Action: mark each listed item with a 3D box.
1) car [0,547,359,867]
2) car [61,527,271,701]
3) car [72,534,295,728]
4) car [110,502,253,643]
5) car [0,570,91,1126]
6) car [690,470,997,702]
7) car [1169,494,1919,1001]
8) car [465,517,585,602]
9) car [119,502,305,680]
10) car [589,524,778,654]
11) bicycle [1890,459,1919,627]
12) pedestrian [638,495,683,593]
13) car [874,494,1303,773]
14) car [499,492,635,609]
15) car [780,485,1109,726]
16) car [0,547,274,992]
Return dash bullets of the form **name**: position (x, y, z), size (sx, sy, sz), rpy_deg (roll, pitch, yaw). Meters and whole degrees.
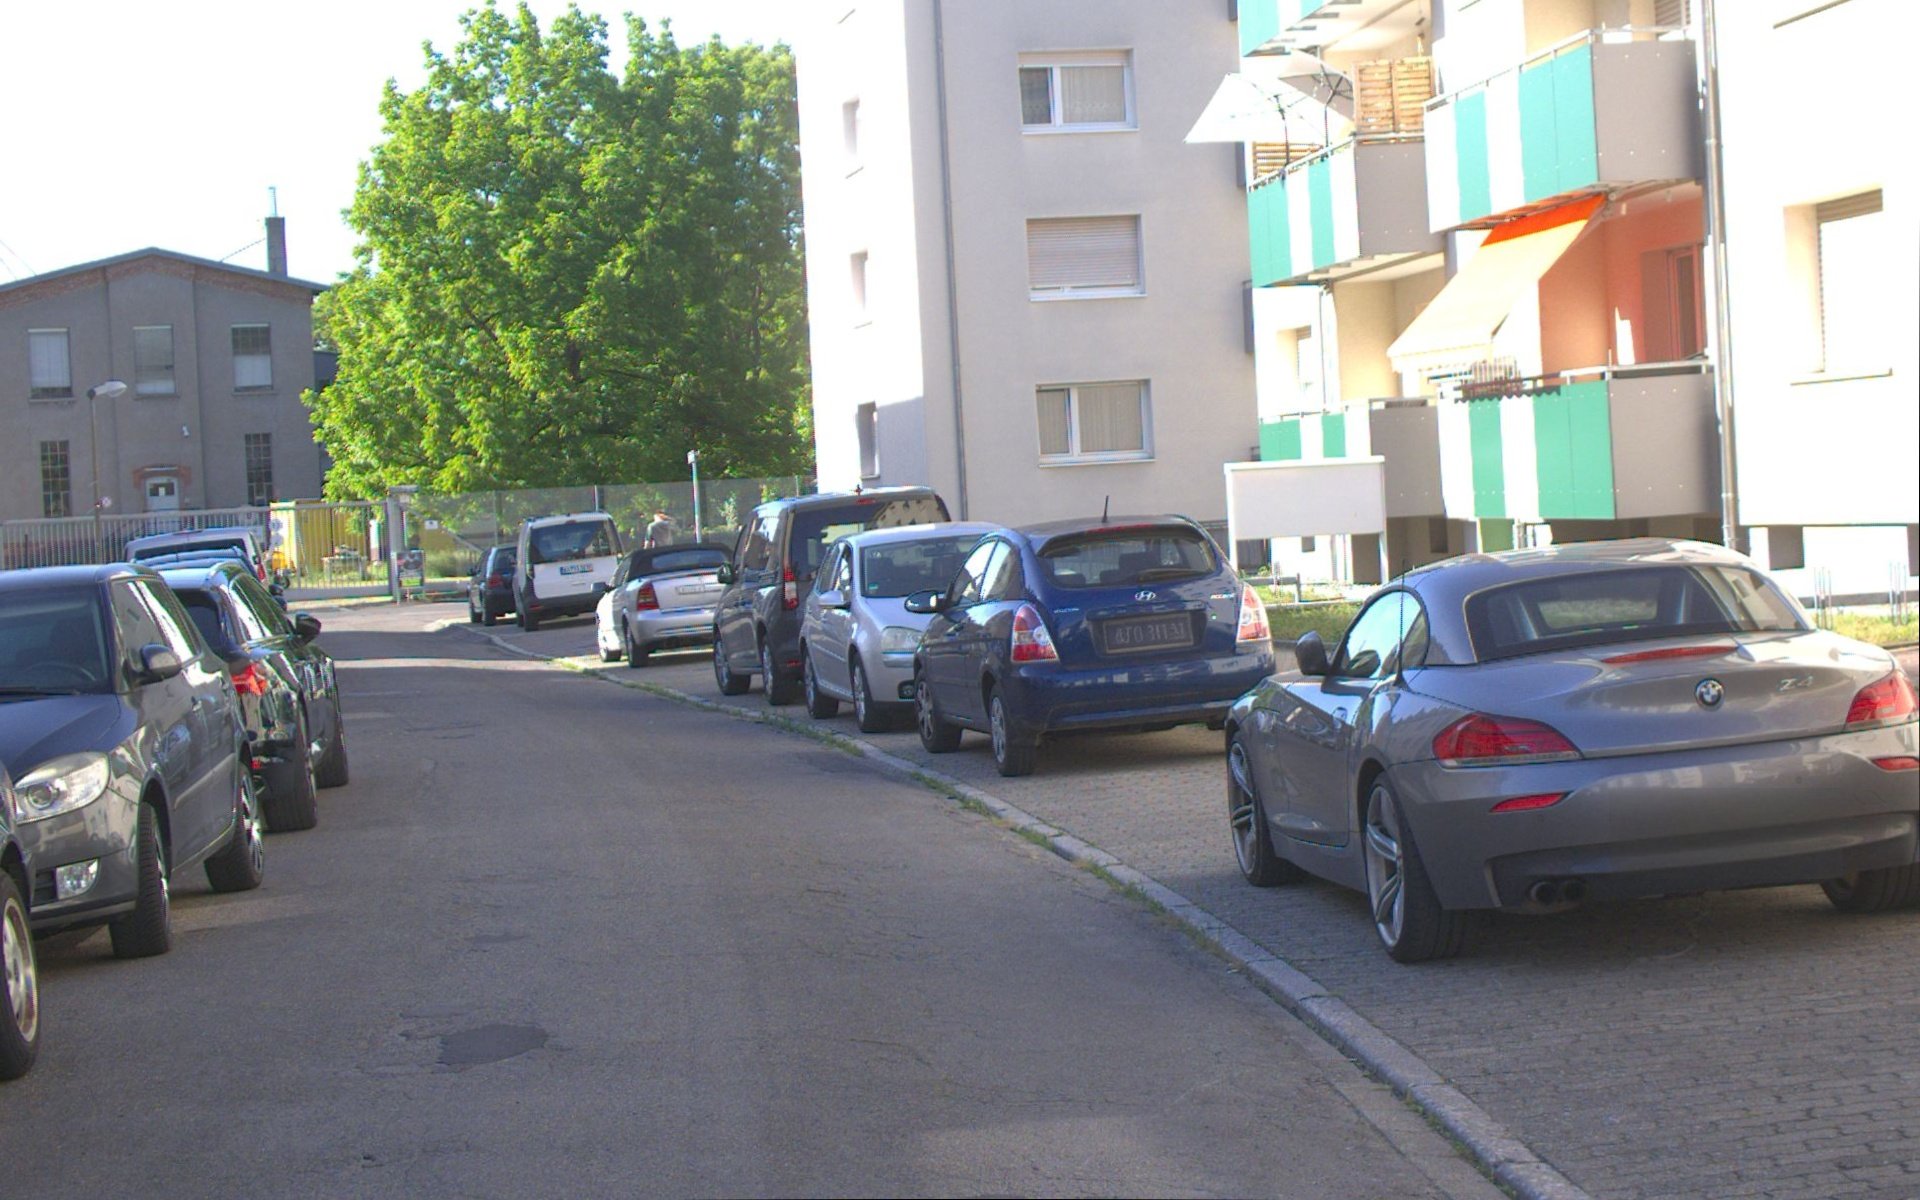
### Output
- **car**: position (-4.450, 0.501, 19.283), size (1.743, 1.426, 4.599), rpy_deg (-6, 2, -7)
- **car**: position (-8.030, 0.116, 34.905), size (1.832, 1.510, 4.001), rpy_deg (-5, 2, -12)
- **car**: position (-6.733, 0.233, 29.956), size (1.658, 1.438, 3.872), rpy_deg (-5, 2, -12)
- **car**: position (-12.510, -0.449, 55.421), size (1.993, 2.006, 4.455), rpy_deg (-5, 2, -12)
- **car**: position (-3.347, 0.767, 8.481), size (1.568, 1.459, 4.263), rpy_deg (-5, 2, -5)
- **car**: position (-1.147, -0.127, 31.397), size (1.896, 1.849, 4.345), rpy_deg (-4, 1, -13)
- **car**: position (2.011, 0.388, 12.458), size (1.685, 1.358, 4.241), rpy_deg (-6, 2, -6)
- **car**: position (-7.994, -0.733, 62.929), size (1.765, 1.357, 4.095), rpy_deg (-5, 2, -12)
- **car**: position (-8.702, -0.103, 40.106), size (1.896, 1.849, 4.196), rpy_deg (-4, 1, -12)
- **car**: position (-3.406, -0.152, 41.761), size (1.717, 1.359, 4.056), rpy_deg (-5, 2, -11)
- **bicycle**: position (6.571, -0.372, 21.615), size (0.649, 1.064, 1.733), rpy_deg (-8, 3, -8)
- **pedestrian**: position (-5.683, -1.070, 65.266), size (0.654, 1.809, 0.614), rpy_deg (-5, 1, -2)
- **car**: position (0.688, 0.160, 21.732), size (1.737, 1.427, 4.357), rpy_deg (-5, 2, -10)
- **car**: position (-6.614, -0.823, 57.546), size (1.765, 1.733, 4.095), rpy_deg (-5, 2, -12)
- **car**: position (-0.204, 0.000, 26.310), size (1.681, 1.582, 4.014), rpy_deg (-4, 2, -11)
- **car**: position (-3.791, 0.618, 13.675), size (1.478, 1.472, 3.632), rpy_deg (-7, 2, -4)
